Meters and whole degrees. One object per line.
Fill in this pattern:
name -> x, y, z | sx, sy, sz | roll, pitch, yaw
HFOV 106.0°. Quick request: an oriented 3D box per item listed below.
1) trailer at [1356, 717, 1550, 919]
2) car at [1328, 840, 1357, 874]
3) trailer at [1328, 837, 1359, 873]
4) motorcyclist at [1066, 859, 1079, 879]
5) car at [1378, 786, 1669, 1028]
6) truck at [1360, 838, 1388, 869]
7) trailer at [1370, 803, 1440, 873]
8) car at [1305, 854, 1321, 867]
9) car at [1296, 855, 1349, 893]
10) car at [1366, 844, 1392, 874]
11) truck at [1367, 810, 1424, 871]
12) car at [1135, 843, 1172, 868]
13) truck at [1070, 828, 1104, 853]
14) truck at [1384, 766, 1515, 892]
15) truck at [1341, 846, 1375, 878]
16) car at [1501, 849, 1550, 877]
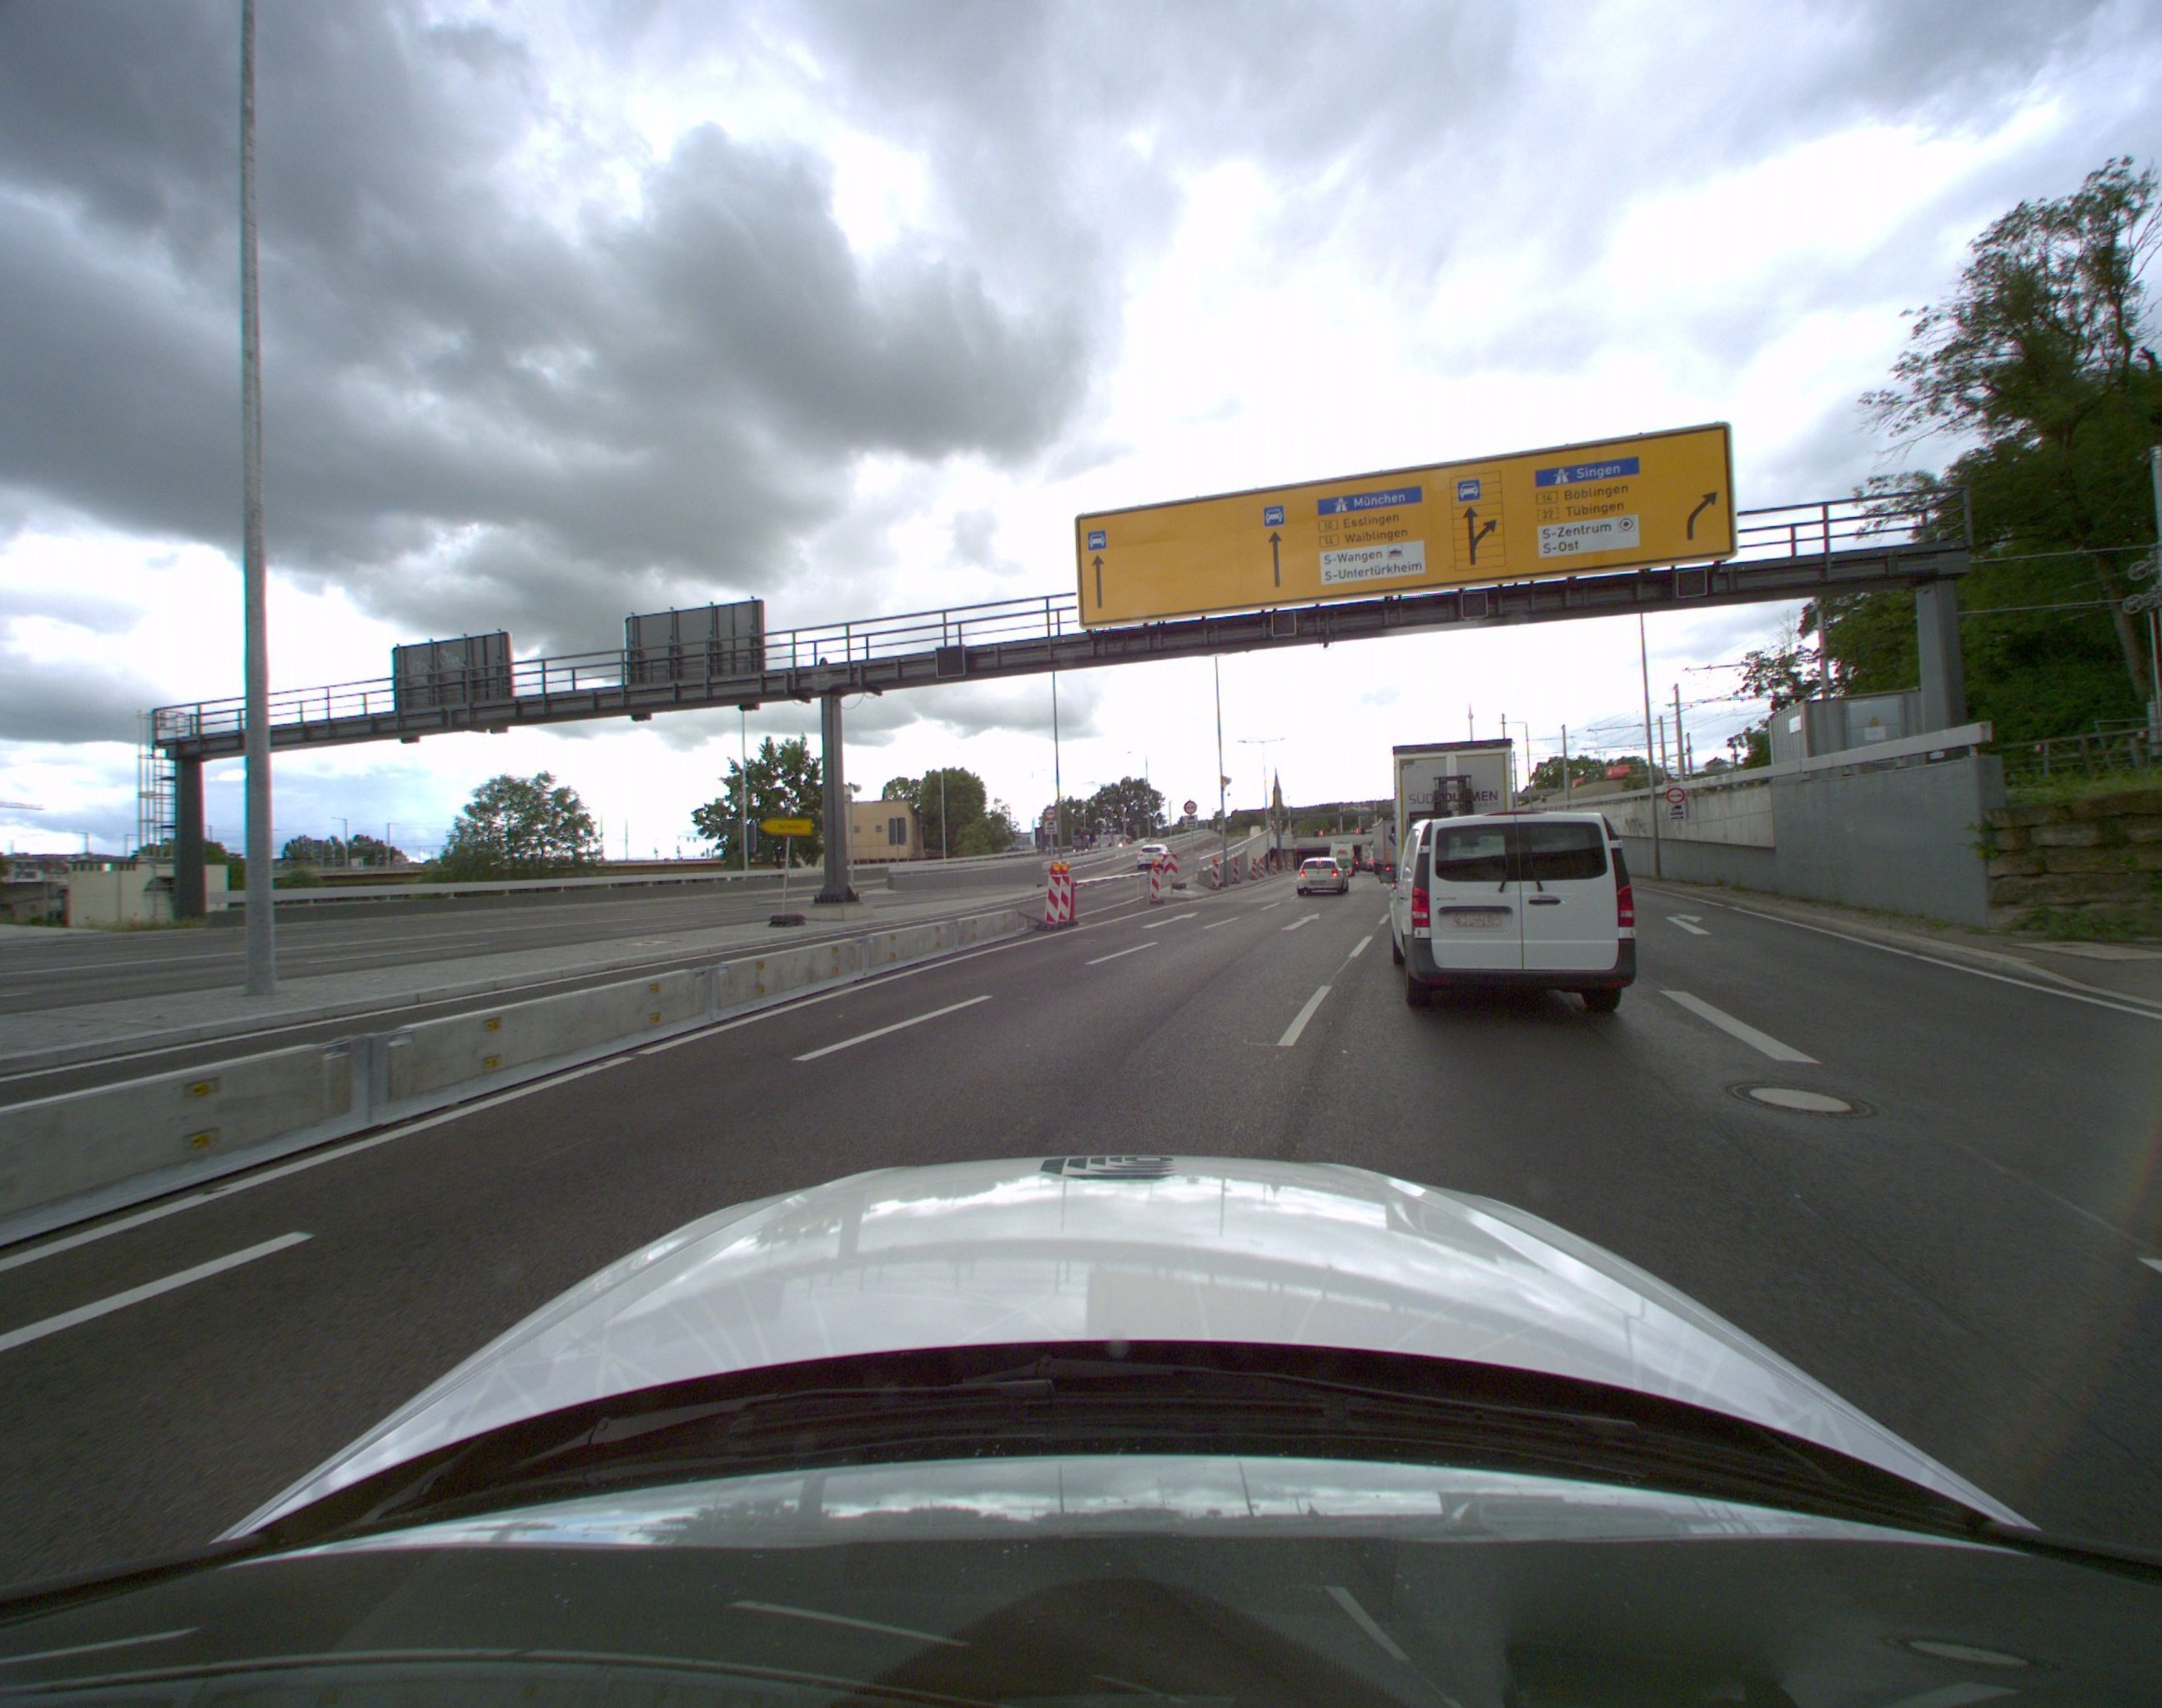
trailer -> 10.033, -0.697, 22.474 | 3.691, 4.142, 11.043 | -1, -1, 23
car -> 21.487, 0.302, 67.100 | 2.042, 2.628, 5.967 | 1, -1, 16
trailer -> 20.274, 0.084, 63.078 | 2.087, 2.639, 4.830 | 1, -1, 16
motorcyclist -> -0.696, 1.178, 65.399 | 0.659, 1.606, 1.108 | -1, -1, 21
car -> 4.642, 0.466, 9.457 | 1.978, 1.990, 5.223 | -1, -1, 18
truck -> 32.861, -0.005, 91.558 | 2.628, 3.185, 7.459 | -3, -2, 18
trailer -> 23.579, -1.018, 59.966 | 3.775, 4.631, 12.167 | -1, -1, 17
car -> 29.542, 0.862, 103.844 | 1.649, 1.488, 3.577 | -2, -3, 11
car -> 9.622, 0.769, 32.307 | 1.702, 1.398, 4.369 | -1, -1, 20
car -> 29.955, 0.489, 81.954 | 2.059, 2.773, 7.359 | -1, 0, 17
truck -> 25.633, -0.989, 66.685 | 3.775, 4.631, 7.475 | -1, -1, 17
car -> 4.470, 0.116, 49.933 | 1.732, 1.432, 3.788 | 1, -1, 13
truck -> 0.939, -1.994, 118.473 | 2.714, 3.389, 10.659 | 0, 2, 13
truck -> 14.233, -0.765, 32.479 | 3.694, 4.142, 11.036 | -1, -1, 19
truck -> 18.316, 0.526, 53.935 | 1.978, 2.031, 3.850 | 1, -1, 17
car -> 26.765, 0.555, 49.176 | 1.877, 1.626, 4.019 | -1, -1, 18
